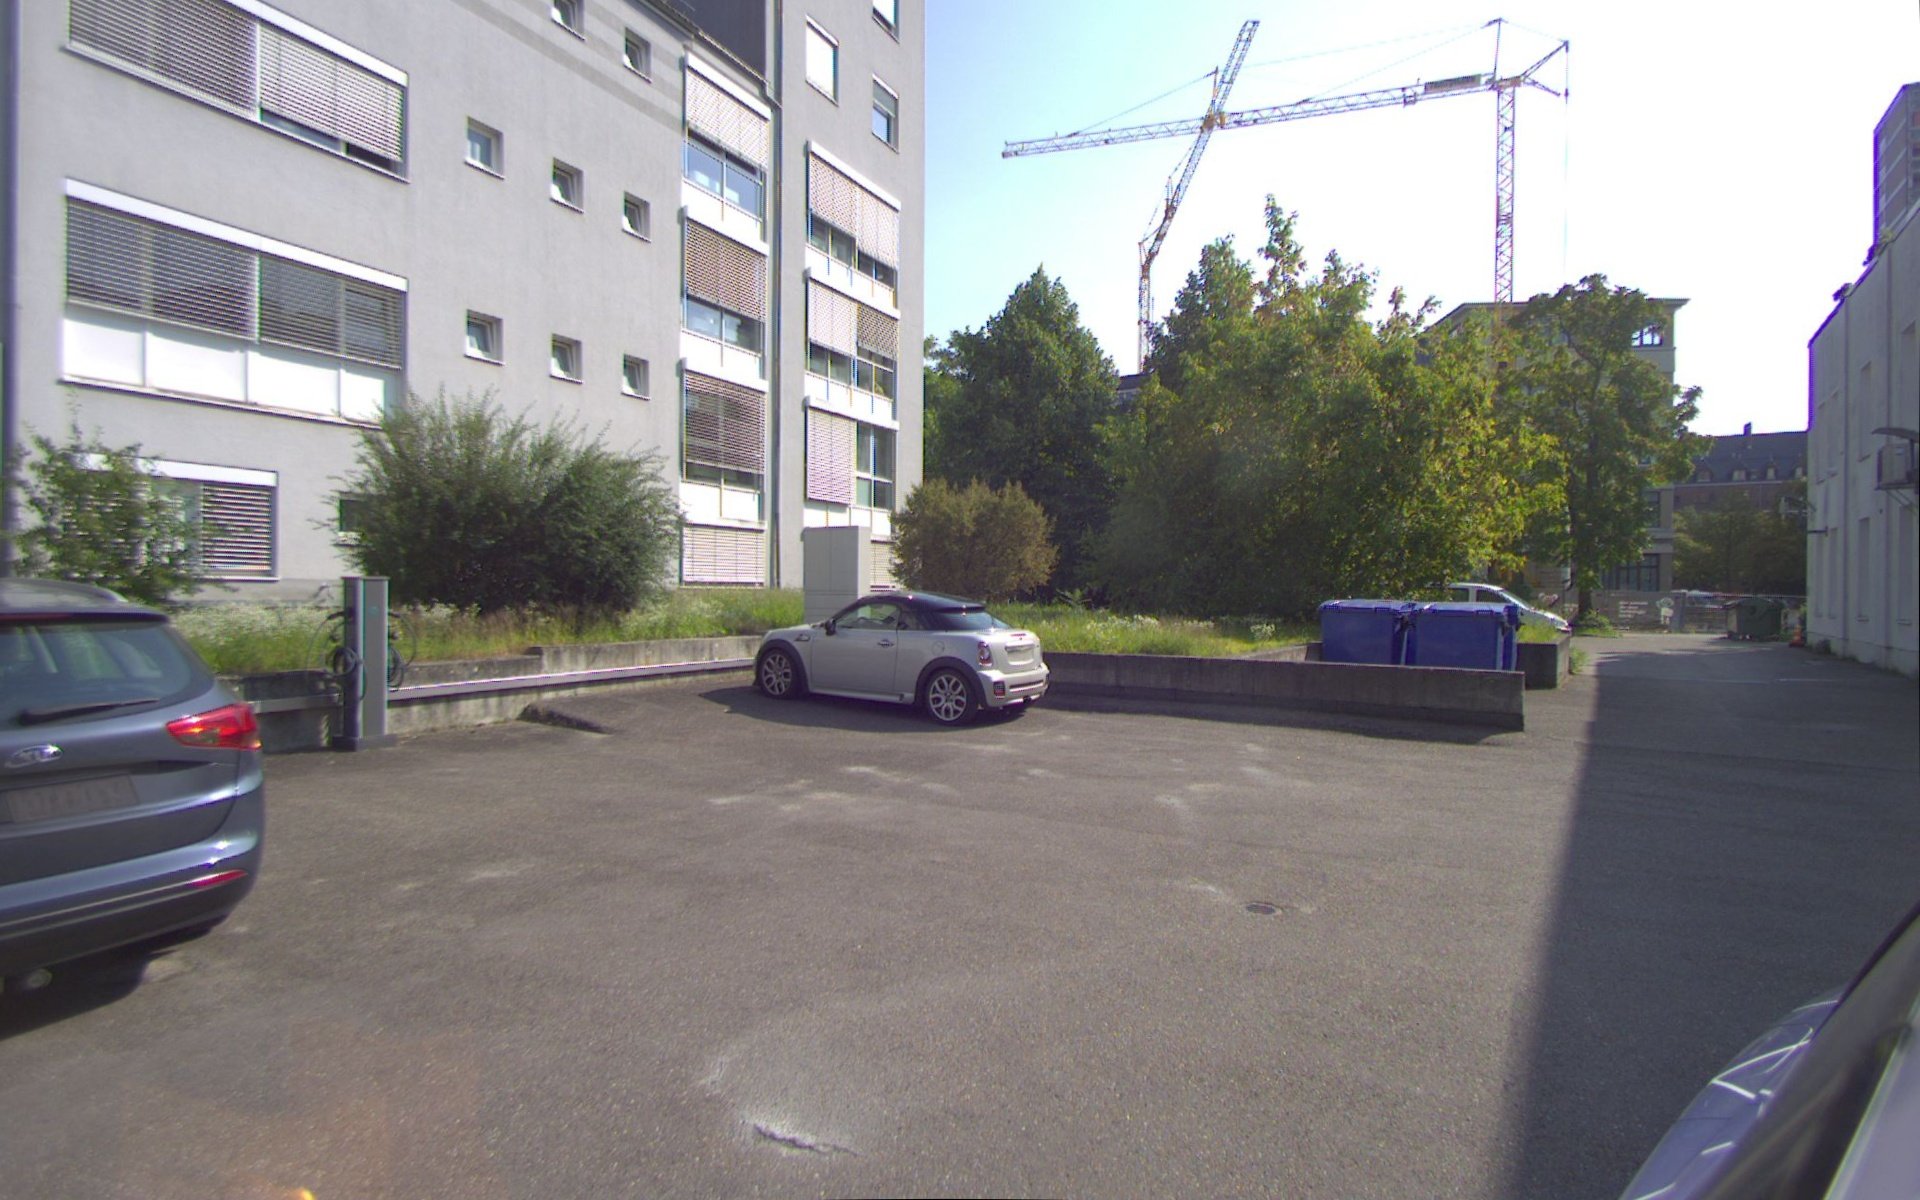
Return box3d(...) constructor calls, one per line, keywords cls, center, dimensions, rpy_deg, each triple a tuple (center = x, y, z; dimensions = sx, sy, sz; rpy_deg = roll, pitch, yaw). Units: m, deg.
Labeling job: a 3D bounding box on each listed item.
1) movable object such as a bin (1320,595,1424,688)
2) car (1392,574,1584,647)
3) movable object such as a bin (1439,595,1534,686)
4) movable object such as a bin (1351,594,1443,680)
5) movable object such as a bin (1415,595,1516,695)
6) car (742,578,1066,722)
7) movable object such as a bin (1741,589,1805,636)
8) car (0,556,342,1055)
box3d(cls="movable object such as a bin", center=(6.337, 0.592, 15.546), dimensions=(1.249, 1.344, 1.259), rpy_deg=(0, 0, 35))
box3d(cls="car", center=(15.388, 0.252, 29.636), dimensions=(4.765, 1.956, 1.884), rpy_deg=(1, 0, 37))
box3d(cls="movable object such as a bin", center=(8.330, 0.602, 16.001), dimensions=(1.193, 1.344, 1.259), rpy_deg=(0, 0, 35))
box3d(cls="movable object such as a bin", center=(7.256, 0.581, 16.799), dimensions=(1.193, 1.344, 1.259), rpy_deg=(0, 0, 35))
box3d(cls="movable object such as a bin", center=(7.372, 0.610, 14.745), dimensions=(1.205, 1.368, 1.260), rpy_deg=(0, 0, 32))
box3d(cls="car", center=(-0.700, 0.497, 12.026), dimensions=(3.553, 1.455, 1.640), rpy_deg=(1, 0, 32))
box3d(cls="movable object such as a bin", center=(26.647, 0.388, 33.202), dimensions=(1.515, 1.484, 1.259), rpy_deg=(0, 0, 35))
box3d(cls="car", center=(-4.552, 0.582, 4.146), dimensions=(4.024, 1.496, 1.724), rpy_deg=(1, 0, 30))
